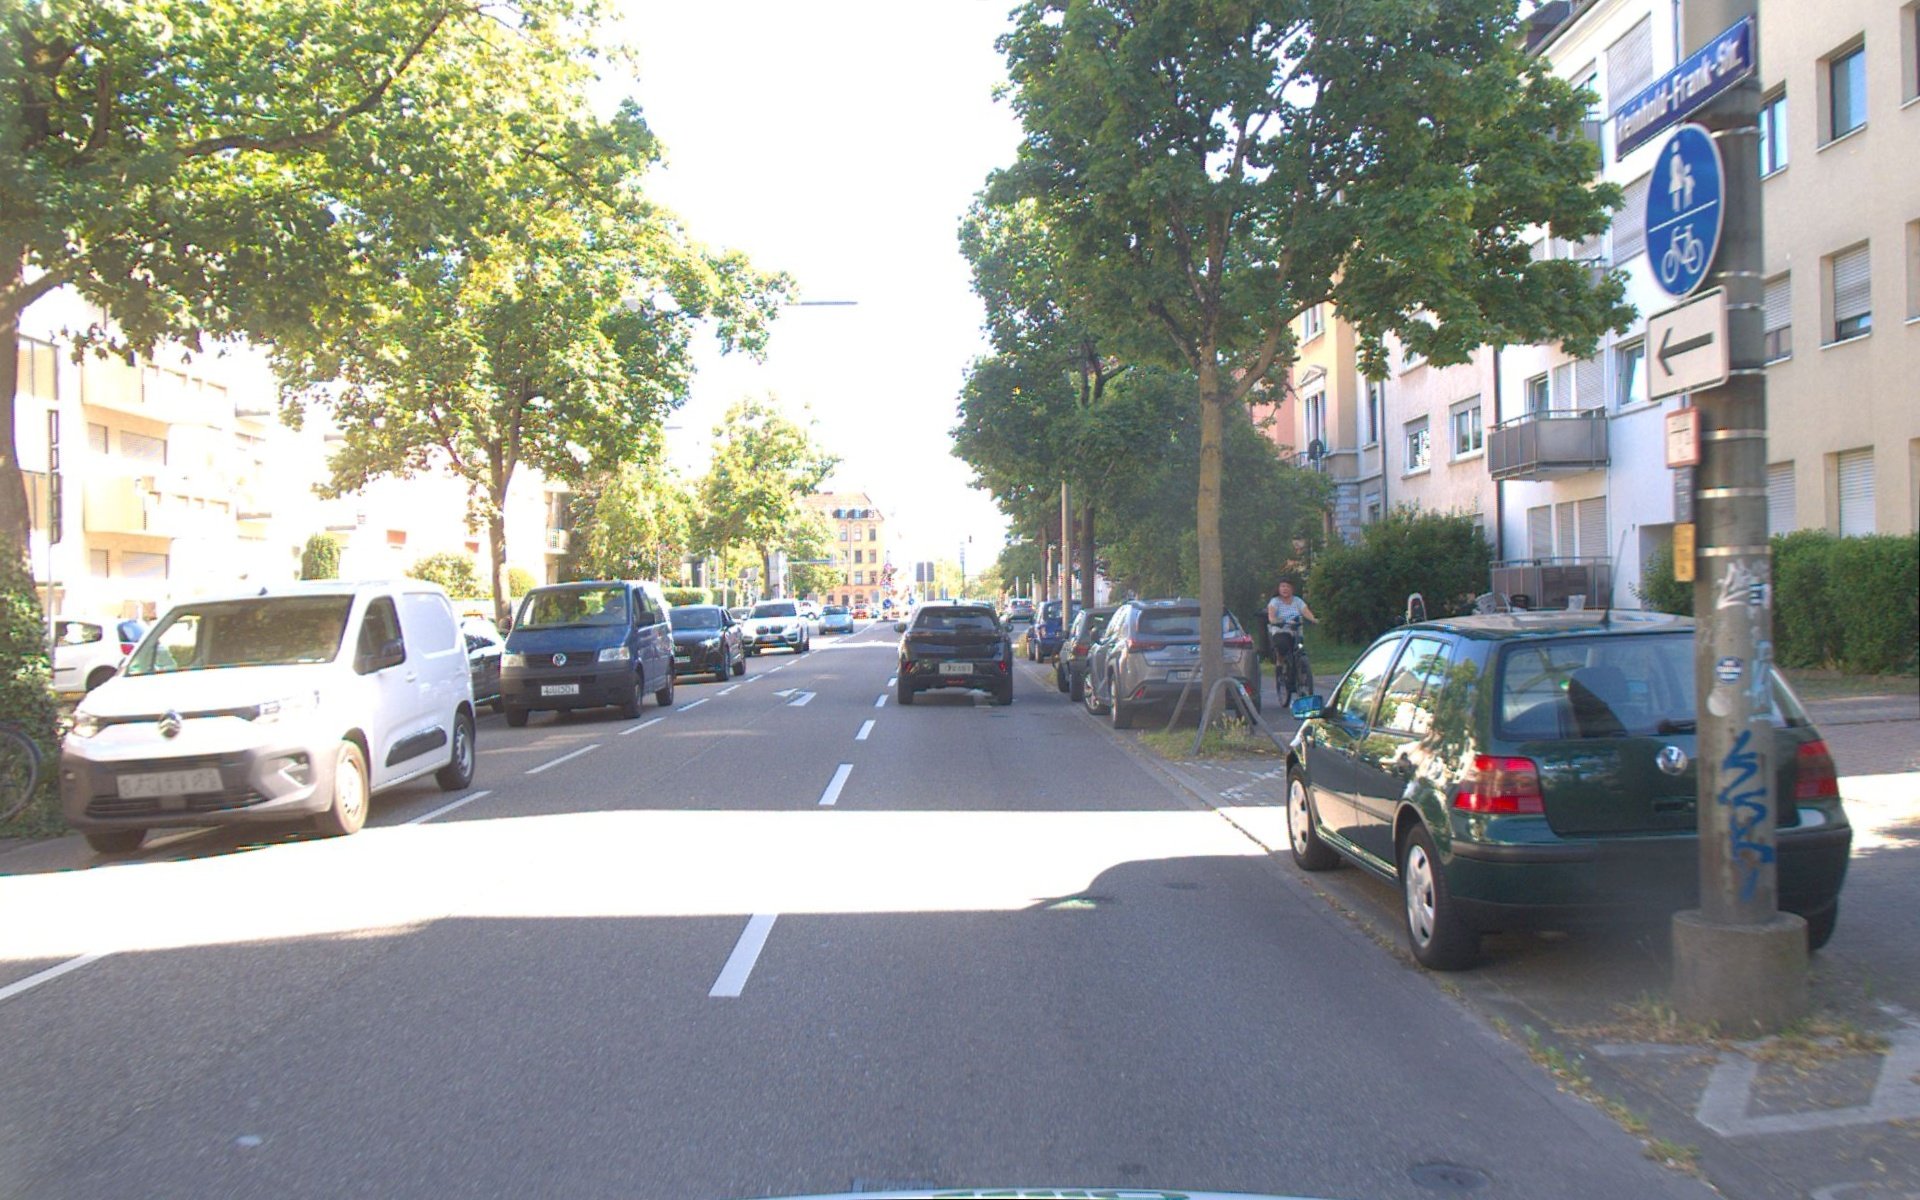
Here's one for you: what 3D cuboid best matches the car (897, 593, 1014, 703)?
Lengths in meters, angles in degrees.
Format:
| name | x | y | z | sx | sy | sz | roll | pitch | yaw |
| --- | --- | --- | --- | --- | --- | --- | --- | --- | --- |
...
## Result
| name | x | y | z | sx | sy | sz | roll | pitch | yaw |
| --- | --- | --- | --- | --- | --- | --- | --- | --- | --- |
| car | -0.096 | 0.705 | 26.025 | 1.710 | 1.601 | 3.557 | 0 | 0 | -1 |

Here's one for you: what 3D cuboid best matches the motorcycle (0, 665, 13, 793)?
| name | x | y | z | sx | sy | sz | roll | pitch | yaw |
| --- | --- | --- | --- | --- | --- | --- | --- | --- | --- |
| motorcycle | -8.923 | 1.172 | 14.179 | 0.451 | 1.145 | 1.718 | 0 | 0 | 7 |

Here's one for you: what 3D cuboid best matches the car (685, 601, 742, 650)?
| name | x | y | z | sx | sy | sz | roll | pitch | yaw |
| --- | --- | --- | --- | --- | --- | --- | --- | --- | --- |
| car | -8.413 | 0.843 | 56.598 | 1.642 | 1.552 | 3.655 | 1 | 0 | -4 |

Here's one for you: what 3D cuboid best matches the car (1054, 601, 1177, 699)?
| name | x | y | z | sx | sy | sz | roll | pitch | yaw |
| --- | --- | --- | --- | --- | --- | --- | --- | --- | --- |
| car | 2.450 | 0.753 | 26.852 | 1.579 | 1.407 | 3.976 | -2 | 0 | 0 |

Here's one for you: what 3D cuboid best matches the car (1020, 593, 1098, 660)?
| name | x | y | z | sx | sy | sz | roll | pitch | yaw |
| --- | --- | --- | --- | --- | --- | --- | --- | --- | --- |
| car | 2.495 | 0.655 | 42.284 | 1.528 | 1.541 | 3.652 | -3 | 0 | -3 |

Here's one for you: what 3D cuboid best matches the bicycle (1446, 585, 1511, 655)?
| name | x | y | z | sx | sy | sz | roll | pitch | yaw |
| --- | --- | --- | --- | --- | --- | --- | --- | --- | --- |
| bicycle | 10.251 | 0.386 | 32.780 | 0.610 | 1.309 | 1.842 | -4 | 0 | -1 |

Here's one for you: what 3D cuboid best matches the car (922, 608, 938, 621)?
| name | x | y | z | sx | sy | sz | roll | pitch | yaw |
| --- | --- | --- | --- | --- | --- | --- | --- | --- | --- |
| car | -3.627 | 1.723 | 198.014 | 1.773 | 1.431 | 4.000 | -1 | 0 | 0 |

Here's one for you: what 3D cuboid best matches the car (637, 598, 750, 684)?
| name | x | y | z | sx | sy | sz | roll | pitch | yaw |
| --- | --- | --- | --- | --- | --- | --- | --- | --- | --- |
| car | -5.565 | 0.820 | 35.047 | 1.684 | 1.593 | 4.341 | -4 | 0 | -1 |

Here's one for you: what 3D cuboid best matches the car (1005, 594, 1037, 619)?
| name | x | y | z | sx | sy | sz | roll | pitch | yaw |
| --- | --- | --- | --- | --- | --- | --- | --- | --- | --- |
| car | 3.787 | 0.399 | 103.679 | 1.793 | 1.478 | 3.987 | -1 | 0 | 0 |

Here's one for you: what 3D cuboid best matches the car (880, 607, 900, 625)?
| name | x | y | z | sx | sy | sz | roll | pitch | yaw |
| --- | --- | --- | --- | --- | --- | --- | --- | --- | --- |
| car | -6.241 | 1.419 | 147.439 | 1.736 | 1.478 | 3.883 | -1 | 0 | -3 |

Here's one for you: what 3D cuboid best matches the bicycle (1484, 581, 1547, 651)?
| name | x | y | z | sx | sy | sz | roll | pitch | yaw |
| --- | --- | --- | --- | --- | --- | --- | --- | --- | --- |
| bicycle | 10.935 | 0.299 | 32.616 | 0.579 | 1.309 | 1.689 | -4 | 0 | -1 |

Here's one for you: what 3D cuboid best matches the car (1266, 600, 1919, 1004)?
| name | x | y | z | sx | sy | sz | roll | pitch | yaw |
| --- | --- | --- | --- | --- | --- | --- | --- | --- | --- |
| car | 2.744 | 0.753 | 8.241 | 1.657 | 1.453 | 4.147 | -2 | 0 | 0 |

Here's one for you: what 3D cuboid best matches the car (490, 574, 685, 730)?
| name | x | y | z | sx | sy | sz | roll | pitch | yaw |
| --- | --- | --- | --- | --- | --- | --- | --- | --- | --- |
| car | -5.322 | 0.682 | 24.273 | 1.767 | 1.944 | 4.711 | -4 | 0 | -1 |

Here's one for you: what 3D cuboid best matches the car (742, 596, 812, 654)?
| name | x | y | z | sx | sy | sz | roll | pitch | yaw |
| --- | --- | --- | --- | --- | --- | --- | --- | --- | --- |
| car | -5.770 | 0.757 | 52.609 | 1.770 | 1.676 | 4.671 | -4 | 0 | -2 |

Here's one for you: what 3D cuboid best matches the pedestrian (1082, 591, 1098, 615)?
| name | x | y | z | sx | sy | sz | roll | pitch | yaw |
| --- | --- | --- | --- | --- | --- | --- | --- | --- | --- |
| pedestrian | 9.252 | 0.210 | 117.751 | 1.020 | 1.689 | 0.783 | -2 | 0 | -5 |

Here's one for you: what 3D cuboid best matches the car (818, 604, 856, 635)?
| name | x | y | z | sx | sy | sz | roll | pitch | yaw |
| --- | --- | --- | --- | --- | --- | --- | --- | --- | --- |
| car | -6.254 | 0.965 | 84.182 | 1.702 | 1.405 | 3.935 | -3 | 1 | -2 |

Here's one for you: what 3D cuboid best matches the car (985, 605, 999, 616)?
| name | x | y | z | sx | sy | sz | roll | pitch | yaw |
| --- | --- | --- | --- | --- | --- | --- | --- | --- | --- |
| car | 4.705 | 1.479 | 240.713 | 1.952 | 1.546 | 4.000 | 1 | 0 | 1 |

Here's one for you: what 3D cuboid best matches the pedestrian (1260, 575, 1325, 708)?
| name | x | y | z | sx | sy | sz | roll | pitch | yaw |
| --- | --- | --- | --- | --- | --- | --- | --- | --- | --- |
| pedestrian | 4.409 | 0.543 | 21.970 | 0.656 | 1.711 | 0.775 | -2 | 0 | -1 |

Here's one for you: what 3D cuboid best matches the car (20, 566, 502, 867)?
| name | x | y | z | sx | sy | sz | roll | pitch | yaw |
| --- | --- | --- | --- | --- | --- | --- | --- | --- | --- |
| car | -5.004 | 0.727 | 12.624 | 1.779 | 1.773 | 4.492 | -3 | 0 | -2 |

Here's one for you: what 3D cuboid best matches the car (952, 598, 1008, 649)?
| name | x | y | z | sx | sy | sz | roll | pitch | yaw |
| --- | --- | --- | --- | --- | --- | --- | --- | --- | --- |
| car | 0.660 | 0.774 | 56.137 | 1.793 | 1.606 | 3.839 | -1 | 0 | 0 |

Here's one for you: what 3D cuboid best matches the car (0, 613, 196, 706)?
| name | x | y | z | sx | sy | sz | roll | pitch | yaw |
| --- | --- | --- | --- | --- | --- | --- | --- | --- | --- |
| car | -15.712 | 1.010 | 28.812 | 3.906 | 1.512 | 1.880 | 0 | 0 | -2 |

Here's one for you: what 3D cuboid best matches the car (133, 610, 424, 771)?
| name | x | y | z | sx | sy | sz | roll | pitch | yaw |
| --- | --- | --- | --- | --- | --- | --- | --- | --- | --- |
| car | -7.664 | 0.943 | 19.047 | 1.687 | 1.624 | 4.135 | 0 | 0 | -1 |

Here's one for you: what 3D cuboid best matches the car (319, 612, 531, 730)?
| name | x | y | z | sx | sy | sz | roll | pitch | yaw |
| --- | --- | --- | --- | --- | --- | --- | --- | --- | --- |
| car | -7.805 | 0.971 | 24.601 | 1.687 | 1.562 | 4.679 | 0 | 0 | -1 |

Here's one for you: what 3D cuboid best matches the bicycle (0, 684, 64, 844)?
| name | x | y | z | sx | sy | sz | roll | pitch | yaw |
| --- | --- | --- | --- | --- | --- | --- | --- | --- | --- |
| bicycle | -7.664 | 1.197 | 12.448 | 1.982 | 1.111 | 0.462 | 0 | 0 | 22 |

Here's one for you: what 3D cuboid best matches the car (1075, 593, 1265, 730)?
| name | x | y | z | sx | sy | sz | roll | pitch | yaw |
| --- | --- | --- | --- | --- | --- | --- | --- | --- | --- |
| car | 2.559 | 0.705 | 21.103 | 1.680 | 1.515 | 4.232 | -2 | 0 | -2 |

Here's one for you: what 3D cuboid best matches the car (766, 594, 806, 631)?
| name | x | y | z | sx | sy | sz | roll | pitch | yaw |
| --- | --- | --- | --- | --- | --- | --- | --- | --- | --- |
| car | -9.045 | 0.642 | 86.164 | 1.782 | 1.866 | 4.560 | -1 | 0 | -3 |

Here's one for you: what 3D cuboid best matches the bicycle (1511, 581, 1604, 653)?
| name | x | y | z | sx | sy | sz | roll | pitch | yaw |
| --- | --- | --- | --- | --- | --- | --- | --- | --- | --- |
| bicycle | 11.197 | 0.323 | 30.998 | 1.506 | 1.244 | 0.463 | -4 | 0 | 30 |

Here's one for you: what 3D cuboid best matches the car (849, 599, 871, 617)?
| name | x | y | z | sx | sy | sz | roll | pitch | yaw |
| --- | --- | --- | --- | --- | --- | --- | --- | --- | --- |
| car | -9.300 | 0.756 | 154.408 | 1.754 | 1.645 | 4.000 | -1 | 0 | 0 |

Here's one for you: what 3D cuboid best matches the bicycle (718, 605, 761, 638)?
| name | x | y | z | sx | sy | sz | roll | pitch | yaw |
| --- | --- | --- | --- | --- | --- | --- | --- | --- | --- |
| bicycle | -8.324 | 0.812 | 62.425 | 1.512 | 1.154 | 0.548 | -2 | 0 | -2 |

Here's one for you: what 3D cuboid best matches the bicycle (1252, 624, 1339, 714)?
| name | x | y | z | sx | sy | sz | roll | pitch | yaw |
| --- | --- | --- | --- | --- | --- | --- | --- | --- | --- |
| bicycle | 4.429 | 0.891 | 21.984 | 0.668 | 1.088 | 2.127 | -2 | 0 | -1 |
